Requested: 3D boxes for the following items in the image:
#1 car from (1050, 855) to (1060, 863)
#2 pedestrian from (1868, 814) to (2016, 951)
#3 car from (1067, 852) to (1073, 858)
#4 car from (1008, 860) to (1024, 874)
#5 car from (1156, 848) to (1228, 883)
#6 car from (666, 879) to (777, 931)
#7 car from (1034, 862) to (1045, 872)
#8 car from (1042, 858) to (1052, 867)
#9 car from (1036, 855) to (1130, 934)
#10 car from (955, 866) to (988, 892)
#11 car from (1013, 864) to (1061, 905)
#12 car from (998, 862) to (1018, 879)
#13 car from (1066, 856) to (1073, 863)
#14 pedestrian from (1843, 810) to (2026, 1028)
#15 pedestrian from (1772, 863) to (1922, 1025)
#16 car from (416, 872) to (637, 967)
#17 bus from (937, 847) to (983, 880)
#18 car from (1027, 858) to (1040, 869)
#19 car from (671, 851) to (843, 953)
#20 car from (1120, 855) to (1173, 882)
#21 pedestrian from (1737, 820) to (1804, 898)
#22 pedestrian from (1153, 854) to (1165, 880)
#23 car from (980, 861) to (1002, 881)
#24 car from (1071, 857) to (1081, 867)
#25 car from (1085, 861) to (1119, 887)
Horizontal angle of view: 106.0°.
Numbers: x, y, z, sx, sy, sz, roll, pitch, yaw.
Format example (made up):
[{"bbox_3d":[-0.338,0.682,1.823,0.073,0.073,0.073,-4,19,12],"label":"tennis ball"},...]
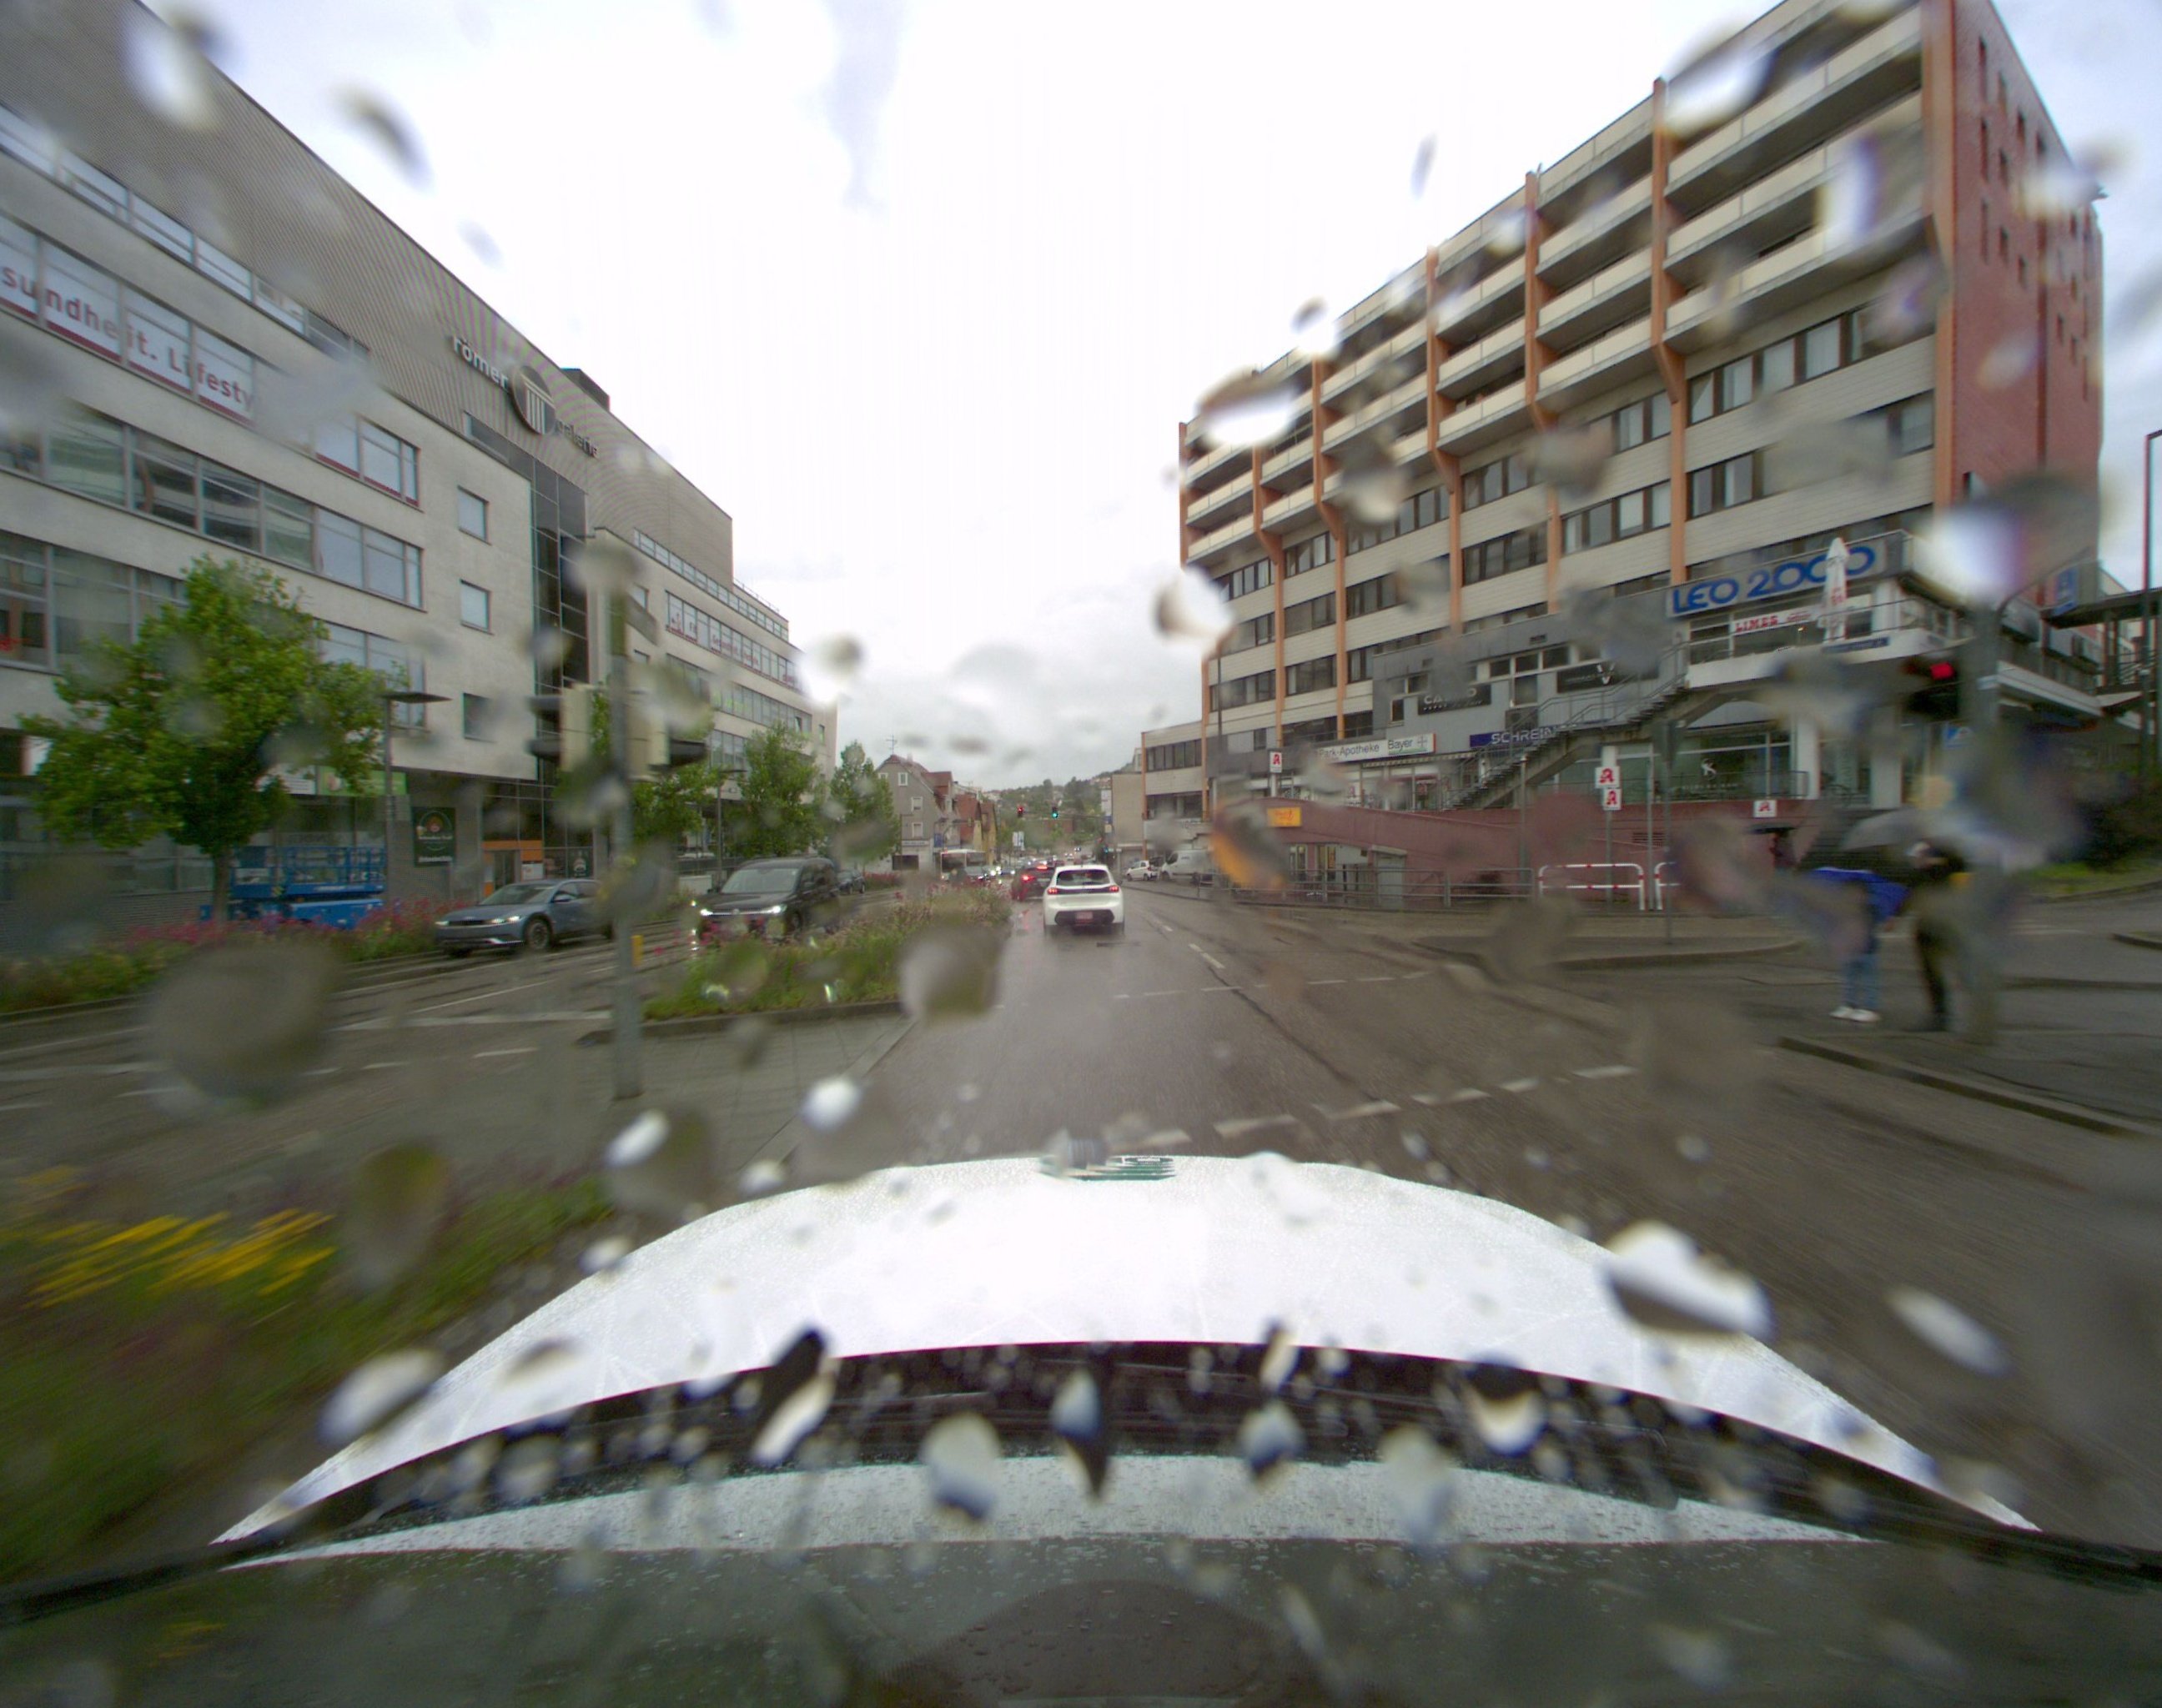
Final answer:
[{"bbox_3d":[-5.724,1.133,180.193,1.779,1.683,4.002,0,2,1],"label":"car"},{"bbox_3d":[11.210,0.344,10.659,0.823,1.690,1.132,-1,1,9],"label":"pedestrian"},{"bbox_3d":[-3.156,0.269,238.426,1.741,1.555,3.999,-2,1,-1],"label":"car"},{"bbox_3d":[-8.272,1.658,104.260,1.741,1.555,3.999,-2,1,-1],"label":"car"},{"bbox_3d":[7.608,0.729,56.262,2.009,2.226,4.922,-3,2,-35],"label":"car"},{"bbox_3d":[-12.169,1.683,27.918,1.720,1.387,4.599,-2,1,0],"label":"car"},{"bbox_3d":[-7.284,2.250,142.916,1.741,1.555,3.999,-2,1,-1],"label":"car"},{"bbox_3d":[-6.647,1.720,157.536,1.741,1.555,3.999,-2,1,-1],"label":"car"},{"bbox_3d":[0.016,0.817,18.240,1.866,1.462,3.872,0,2,-1],"label":"car"},{"bbox_3d":[-7.817,1.779,58.660,1.888,1.555,3.998,-2,1,-2],"label":"car"},{"bbox_3d":[-1.750,1.212,33.002,1.811,1.530,3.808,-1,-2,-3],"label":"car"},{"bbox_3d":[-7.585,1.673,85.190,1.810,1.555,3.998,-2,1,-2],"label":"car"},{"bbox_3d":[-2.851,1.402,201.918,1.741,1.555,3.999,-2,1,-1],"label":"car"},{"bbox_3d":[6.679,0.488,6.411,0.704,1.607,0.656,-2,0,4],"label":"pedestrian"},{"bbox_3d":[6.807,0.772,7.268,0.704,1.345,0.656,-2,1,4],"label":"pedestrian"},{"bbox_3d":[-12.554,1.390,18.886,1.767,1.593,4.589,-5,1,1],"label":"car"},{"bbox_3d":[-11.646,0.787,79.115,2.929,2.783,9.503,-2,1,0],"label":"bus"},{"bbox_3d":[-7.451,1.523,128.206,1.741,1.555,3.999,-2,1,-1],"label":"car"},{"bbox_3d":[-6.706,0.919,17.452,1.988,1.823,4.295,-3,0,-2],"label":"car"},{"bbox_3d":[4.900,1.027,61.381,1.898,1.878,4.094,-3,2,-32],"label":"car"},{"bbox_3d":[15.098,0.097,17.868,0.788,1.668,0.934,-1,1,13],"label":"pedestrian"},{"bbox_3d":[5.740,0.945,59.897,0.644,1.822,0.577,-3,1,-32],"label":"pedestrian"},{"bbox_3d":[-8.033,1.503,72.943,1.812,1.555,3.994,-2,1,-5],"label":"car"},{"bbox_3d":[-1.019,1.524,155.119,1.741,1.555,3.999,-2,1,-1],"label":"car"},{"bbox_3d":[1.249,1.217,49.679,1.906,1.400,3.456,-1,1,-2],"label":"car"}]
